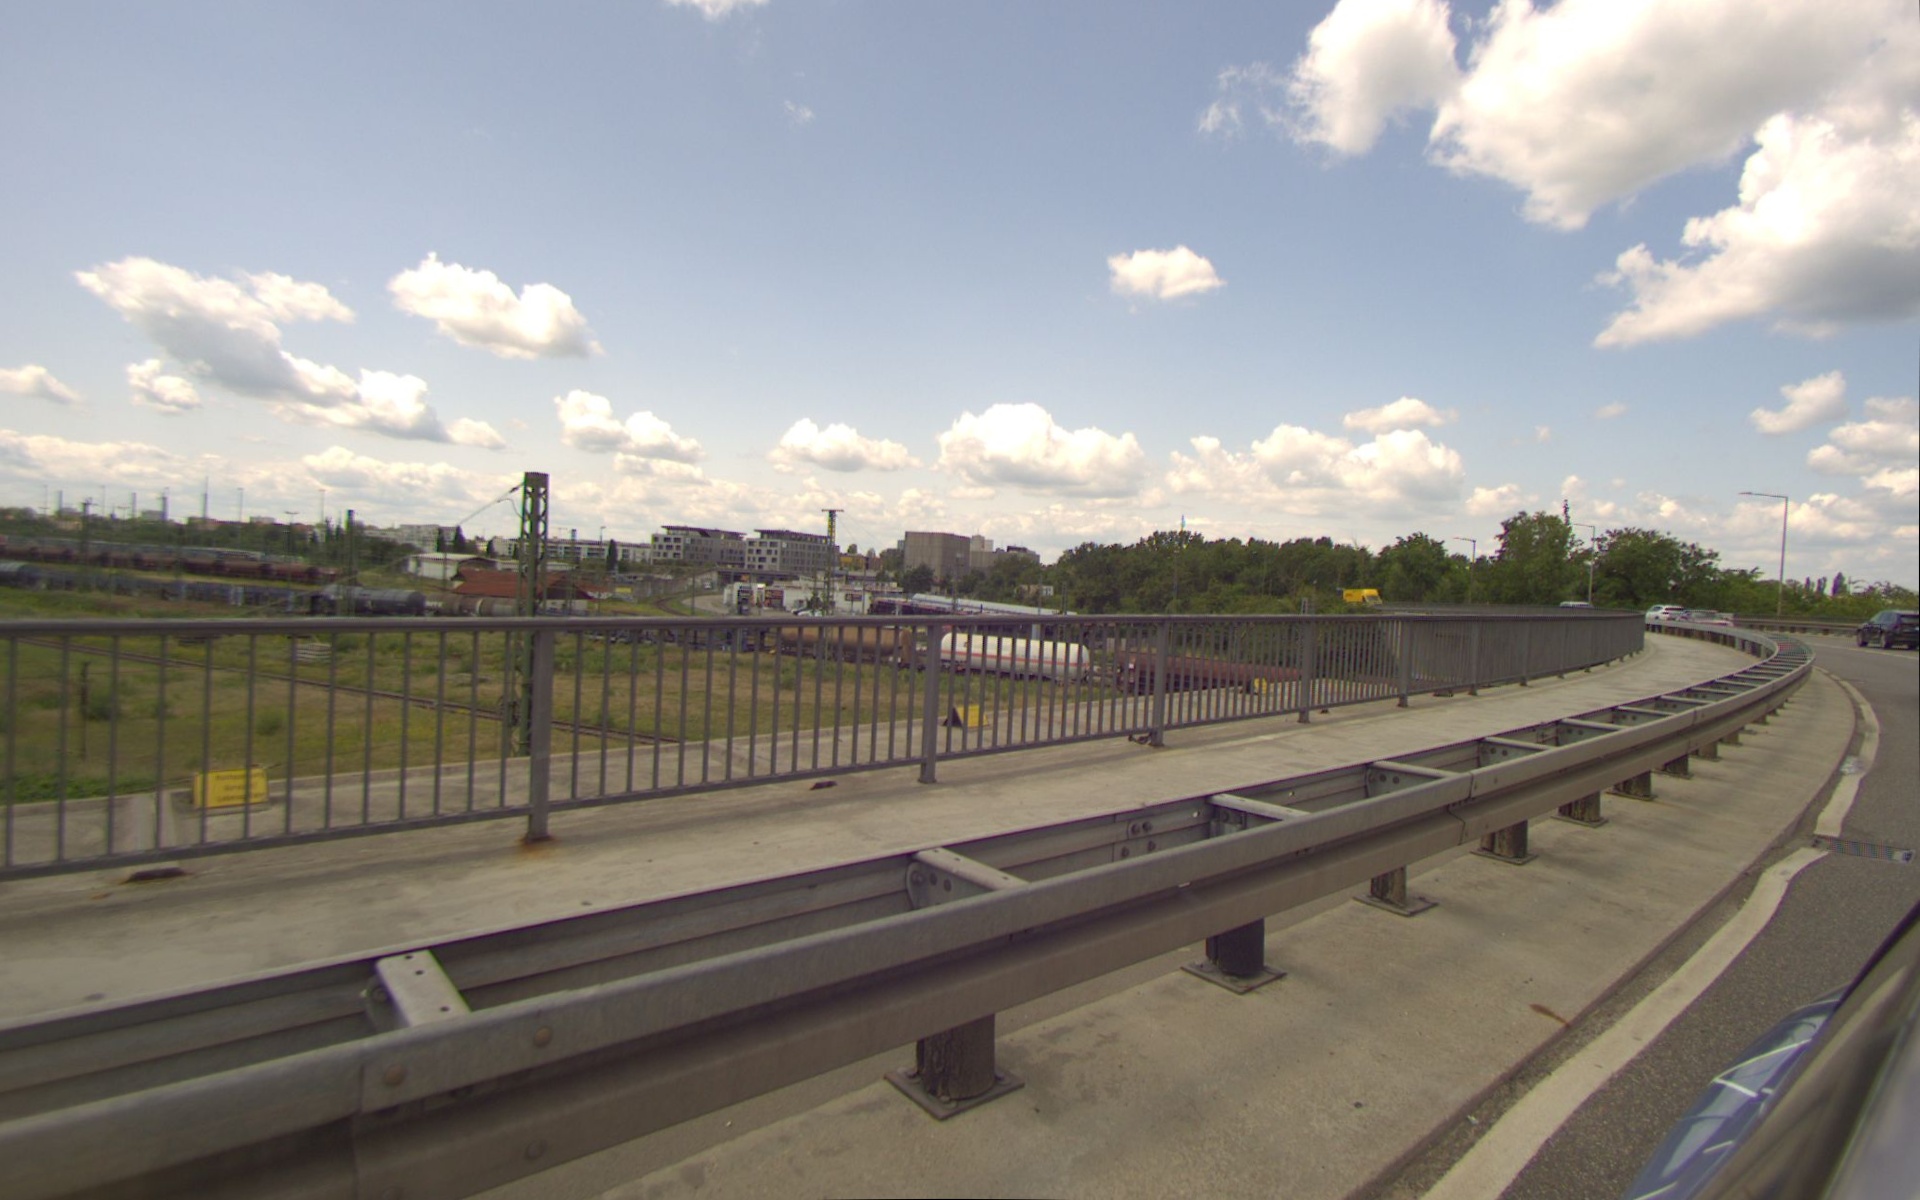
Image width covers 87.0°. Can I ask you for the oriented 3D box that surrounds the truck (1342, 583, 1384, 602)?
[{"bbox_3d":[48.568,-0.883,122.131,1.960,2.038,6.154,2,2,-5],"label":"truck"}]

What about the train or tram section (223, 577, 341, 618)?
[{"bbox_3d":[-84.771,-0.384,126.501,15.756,4.202,3.196,2,4,18],"label":"train or tram section"}]

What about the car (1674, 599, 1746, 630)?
[{"bbox_3d":[37.079,0.678,50.136,1.807,1.355,3.972,2,2,21],"label":"car"}]

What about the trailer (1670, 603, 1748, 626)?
[{"bbox_3d":[45.422,0.835,61.556,2.025,1.224,5.947,1,1,18],"label":"trailer"}]

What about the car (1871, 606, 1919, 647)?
[{"bbox_3d":[35.990,0.988,38.028,1.809,1.469,4.682,1,0,32],"label":"car"}]

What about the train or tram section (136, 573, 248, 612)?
[{"bbox_3d":[-99.813,-1.069,131.518,15.756,4.202,3.196,2,4,18],"label":"train or tram section"}]

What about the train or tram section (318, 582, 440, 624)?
[{"bbox_3d":[-69.839,0.272,121.510,15.763,4.202,3.195,3,4,19],"label":"train or tram section"}]

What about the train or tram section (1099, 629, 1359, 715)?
[{"bbox_3d":[19.533,5.086,75.539,18.784,4.202,3.181,4,5,35],"label":"train or tram section"}]

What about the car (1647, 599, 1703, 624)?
[{"bbox_3d":[46.923,0.743,66.485,1.788,1.554,4.323,1,0,18],"label":"car"}]

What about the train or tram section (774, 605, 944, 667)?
[{"bbox_3d":[-9.730,3.206,94.963,17.562,4.202,3.178,4,4,32],"label":"train or tram section"}]

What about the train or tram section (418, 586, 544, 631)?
[{"bbox_3d":[-54.943,0.865,115.881,15.777,4.202,3.192,3,4,22],"label":"train or tram section"}]

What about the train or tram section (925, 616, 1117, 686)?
[{"bbox_3d":[4.822,4.113,85.677,16.848,4.202,3.181,4,5,33],"label":"train or tram section"}]

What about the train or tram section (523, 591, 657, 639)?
[{"bbox_3d":[-40.307,1.532,109.999,15.781,4.202,3.191,3,4,22],"label":"train or tram section"}]

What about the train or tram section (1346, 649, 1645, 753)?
[{"bbox_3d":[33.530,6.113,64.617,16.550,4.202,3.094,5,5,42],"label":"train or tram section"}]

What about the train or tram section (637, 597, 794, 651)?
[{"bbox_3d":[-25.143,2.340,103.314,17.516,4.202,3.187,3,4,26],"label":"train or tram section"}]
